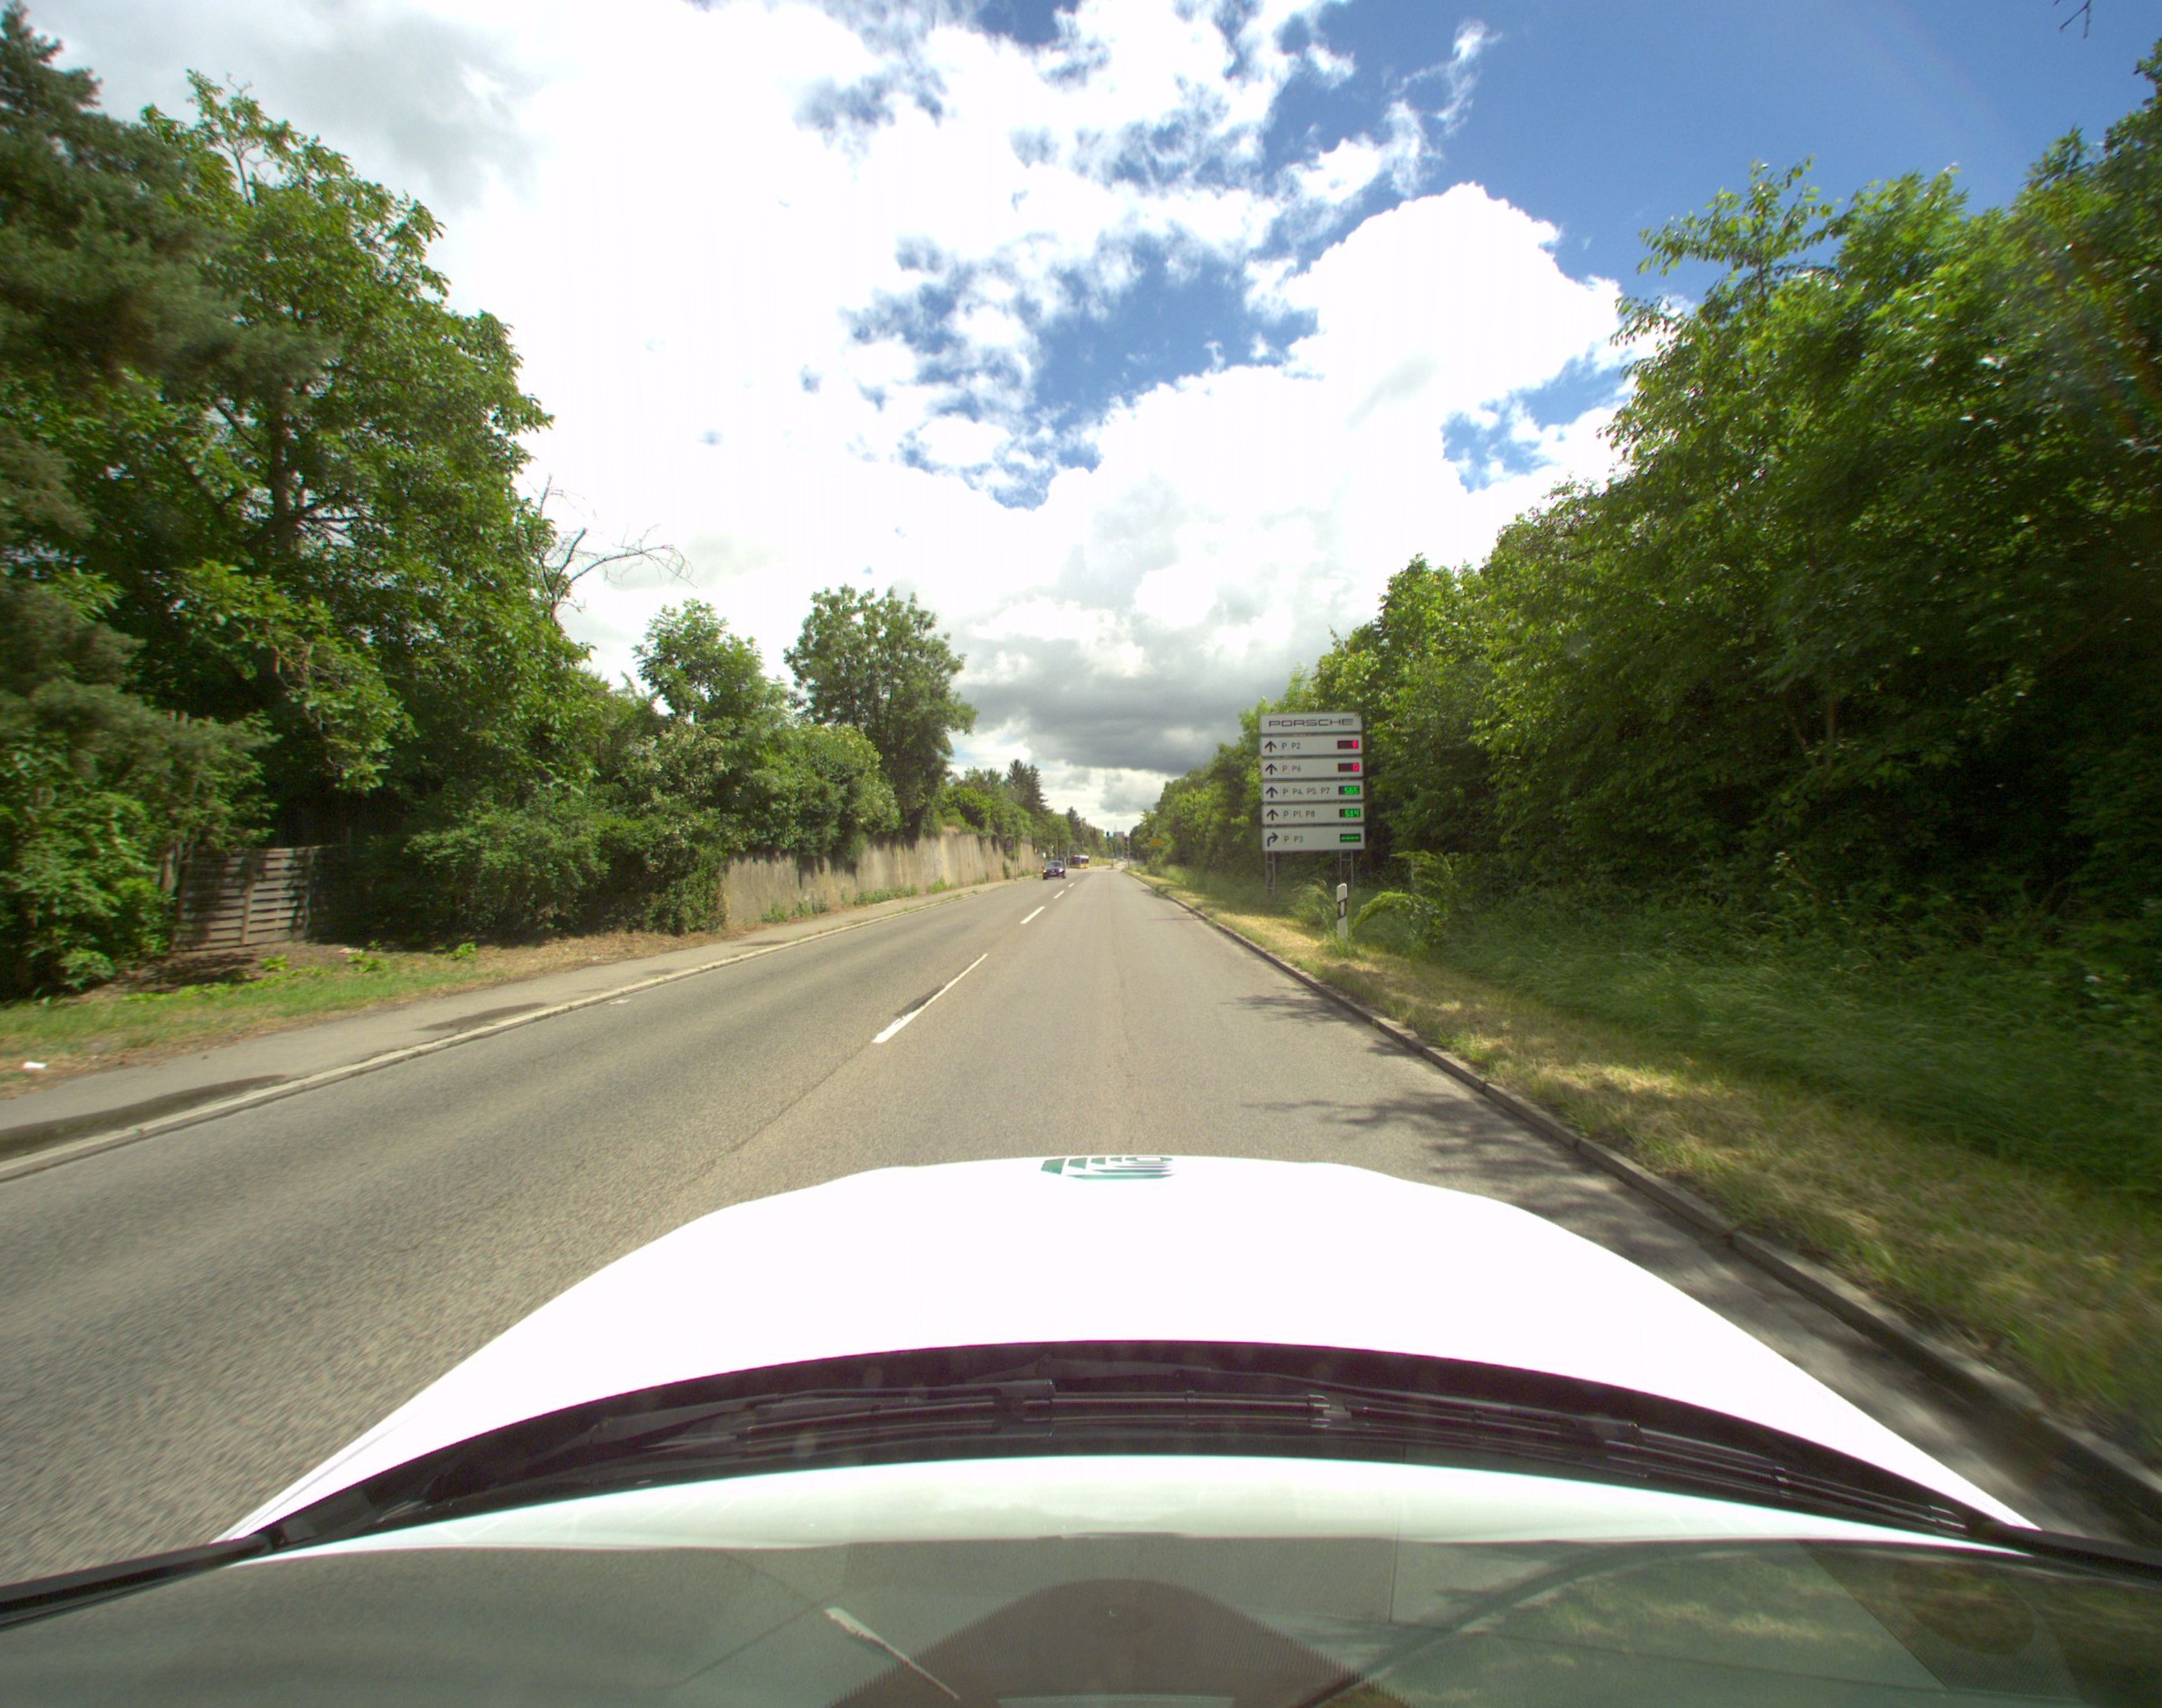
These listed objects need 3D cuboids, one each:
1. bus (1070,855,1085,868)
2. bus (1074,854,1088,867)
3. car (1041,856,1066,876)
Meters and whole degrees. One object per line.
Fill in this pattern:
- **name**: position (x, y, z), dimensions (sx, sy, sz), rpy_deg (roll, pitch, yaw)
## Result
- **bus**: position (-0.766, 1.739, 192.383), dimensions (2.881, 2.899, 7.678), rpy_deg (1, 1, 5)
- **bus**: position (0.016, 1.635, 199.940), dimensions (2.881, 2.899, 7.678), rpy_deg (1, 1, 5)
- **car**: position (-2.206, 0.933, 65.807), dimensions (1.745, 1.464, 4.001), rpy_deg (-2, 0, 1)
